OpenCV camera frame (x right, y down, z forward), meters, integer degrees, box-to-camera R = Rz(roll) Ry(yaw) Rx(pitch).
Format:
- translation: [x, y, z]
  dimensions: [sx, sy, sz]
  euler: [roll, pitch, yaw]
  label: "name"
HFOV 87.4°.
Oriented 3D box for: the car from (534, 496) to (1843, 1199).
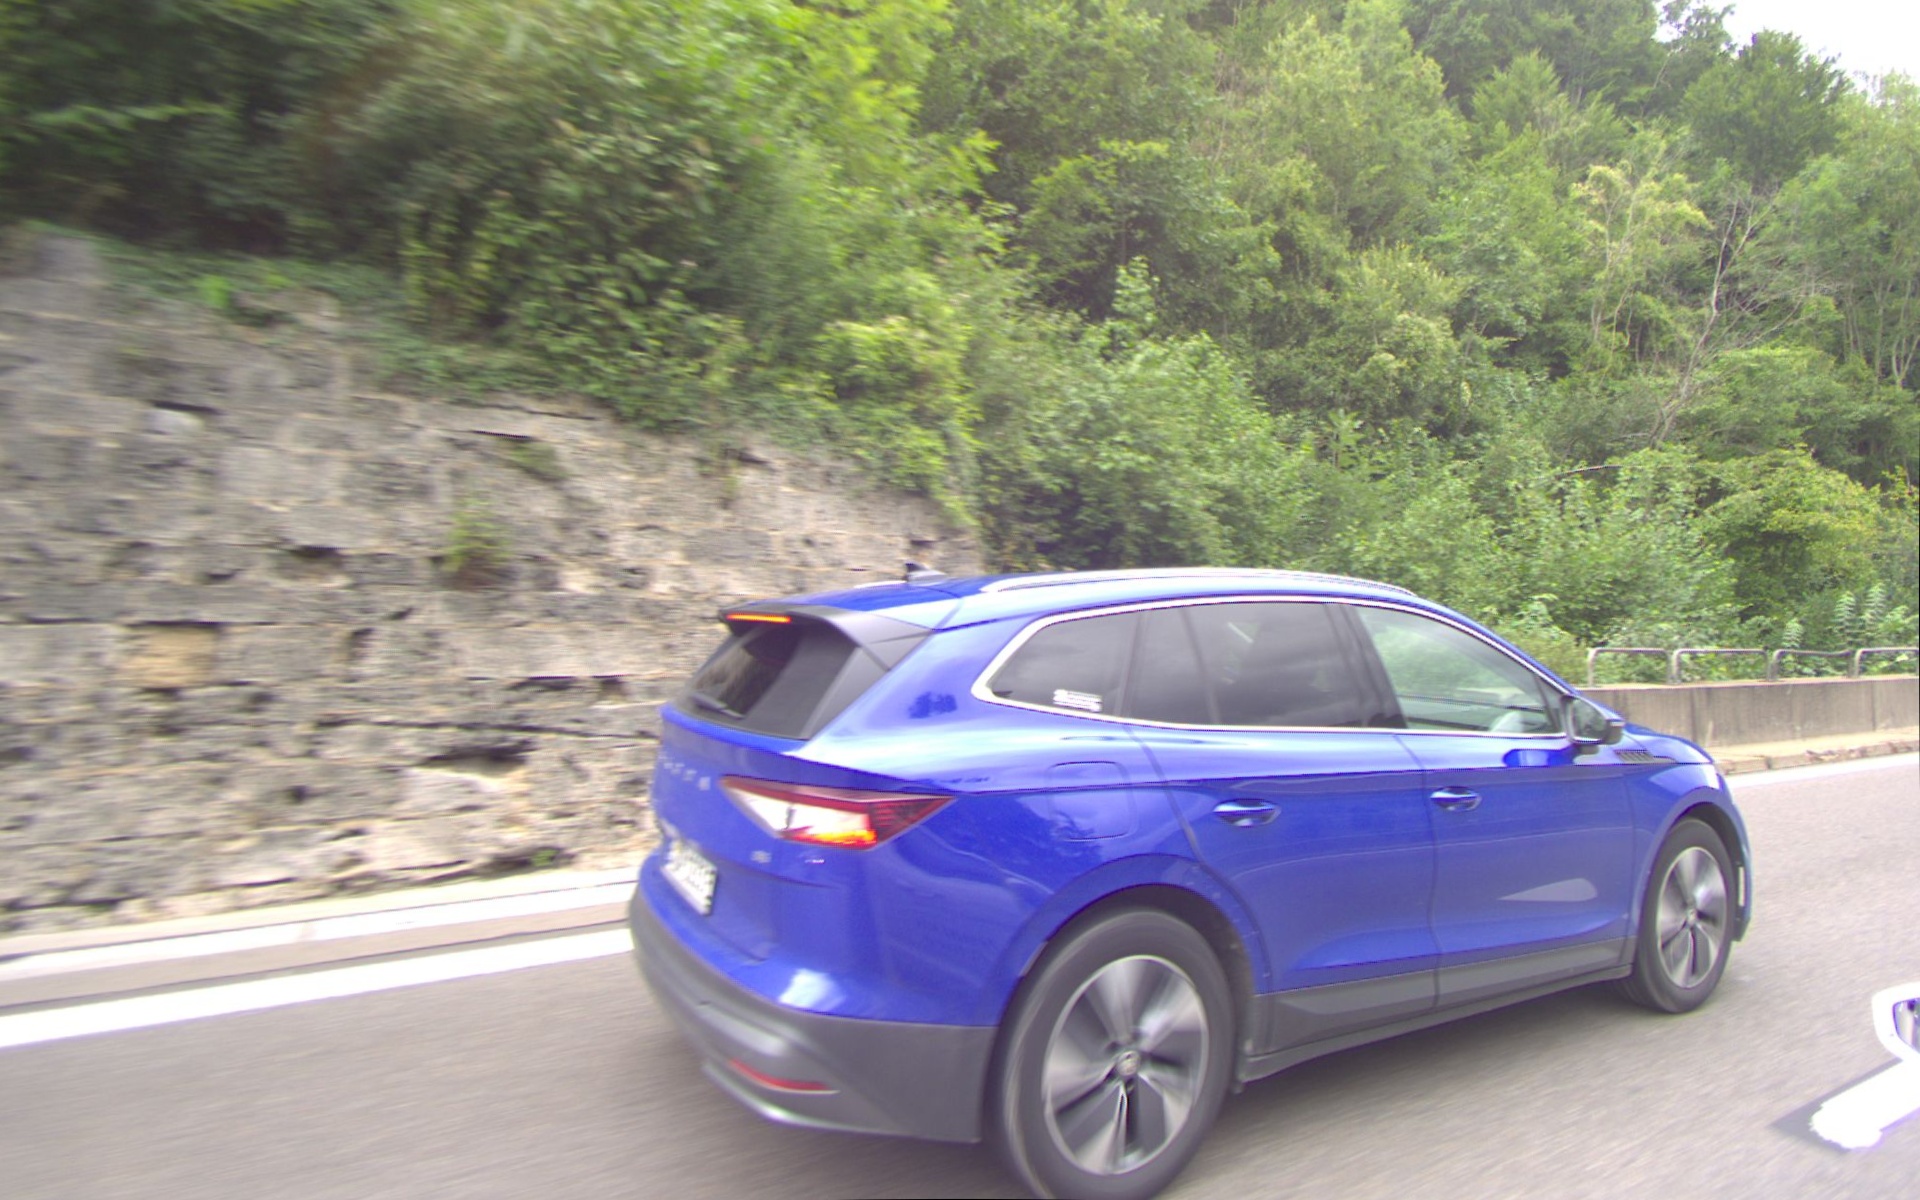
- translation: [1.126, 0.702, 3.911]
  dimensions: [4.948, 1.653, 1.985]
  euler: [1, -1, -30]
  label: "car"
